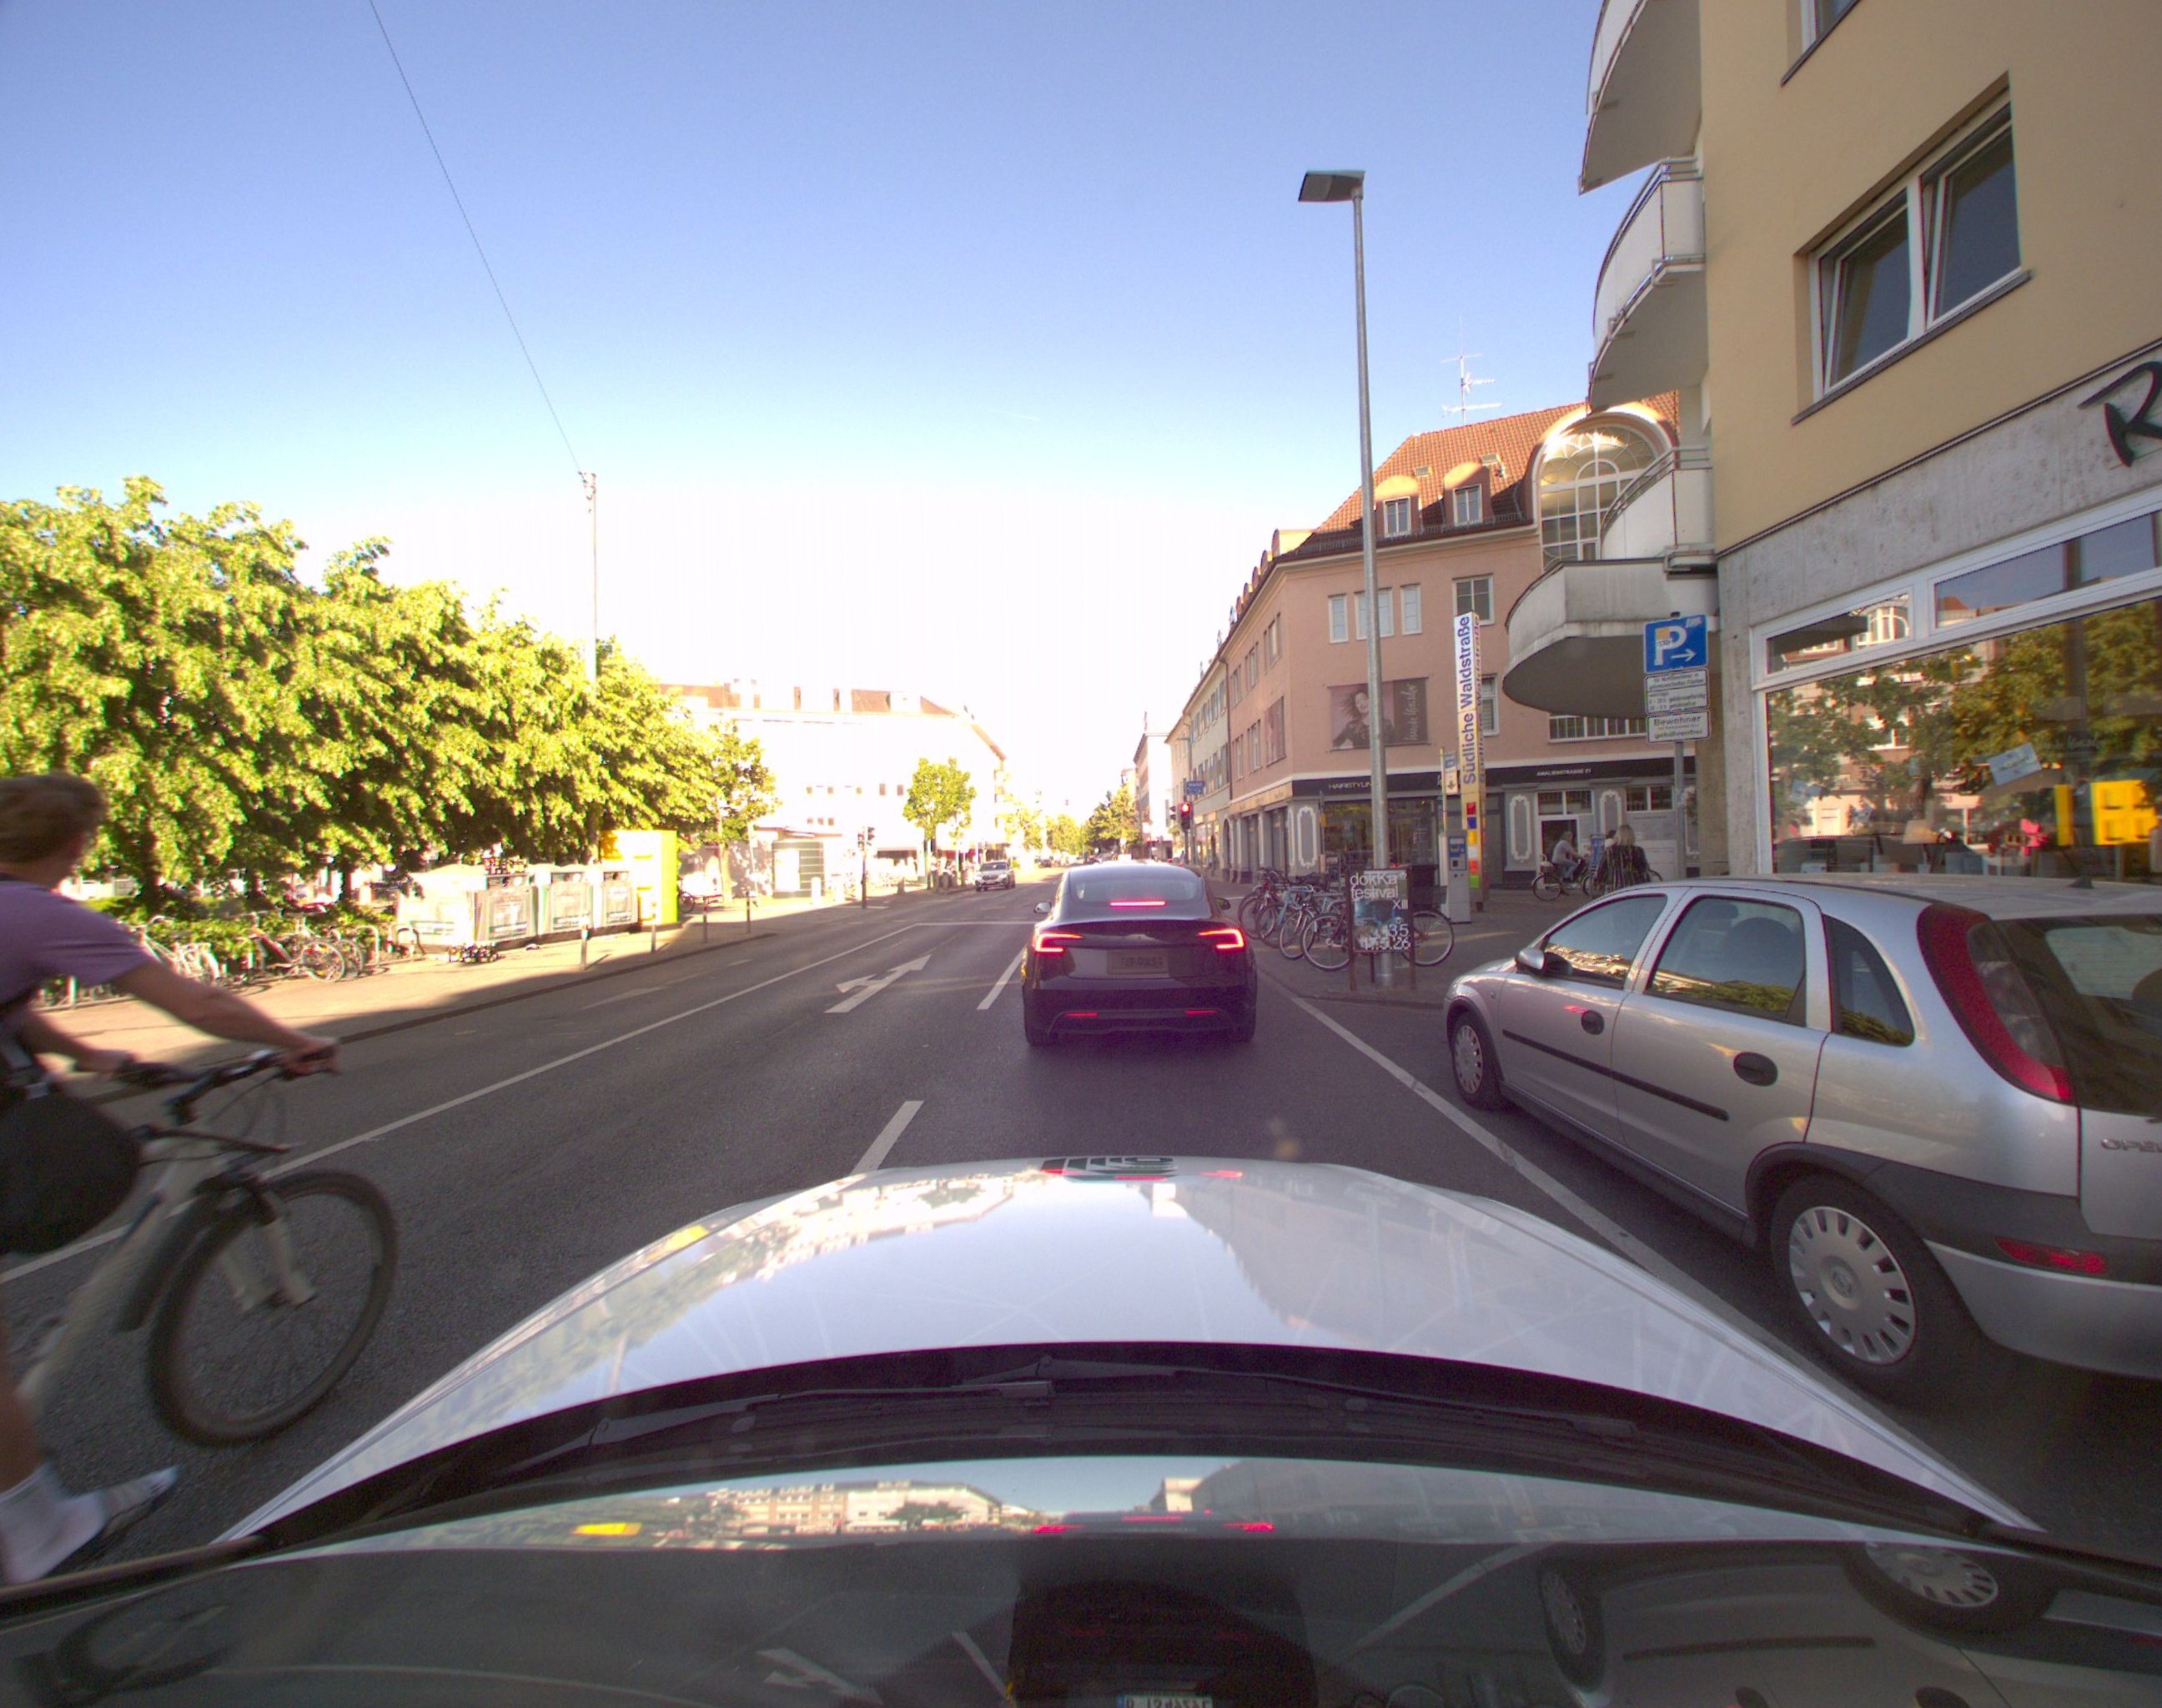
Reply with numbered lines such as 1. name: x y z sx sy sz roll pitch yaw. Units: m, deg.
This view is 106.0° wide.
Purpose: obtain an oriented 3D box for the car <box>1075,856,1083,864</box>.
1. car: -0.404 1.272 178.888 1.824 1.724 4.000 -1 0 0

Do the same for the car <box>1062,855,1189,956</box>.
1. car: 0.741 0.762 13.860 1.842 1.455 3.788 -1 0 3

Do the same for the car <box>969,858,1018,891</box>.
1. car: -4.724 1.099 44.492 1.986 1.541 4.002 -5 0 2

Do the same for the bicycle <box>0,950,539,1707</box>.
1. bicycle: -2.197 0.936 1.766 0.793 1.233 1.774 -1 0 2

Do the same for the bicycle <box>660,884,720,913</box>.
1. bicycle: -13.382 1.522 27.852 1.850 0.946 0.631 0 0 12

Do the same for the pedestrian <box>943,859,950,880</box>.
1. pedestrian: -10.386 1.217 62.884 0.385 1.591 0.705 -1 0 -3

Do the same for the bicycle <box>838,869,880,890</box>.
1. bicycle: -12.436 1.445 45.650 2.075 1.104 0.806 -1 0 1

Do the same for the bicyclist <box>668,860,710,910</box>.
1. bicyclist: -13.416 1.048 27.869 1.112 1.654 0.631 -1 0 12

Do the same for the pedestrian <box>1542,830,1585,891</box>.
1. pedestrian: 11.664 0.163 19.692 0.738 1.440 0.584 -1 -1 14

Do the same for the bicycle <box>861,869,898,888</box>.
1. bicycle: -12.483 1.486 50.428 2.075 1.104 0.806 -1 0 1

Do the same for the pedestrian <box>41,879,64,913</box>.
1. pedestrian: -55.264 2.232 43.755 0.576 1.792 0.604 -1 -1 19

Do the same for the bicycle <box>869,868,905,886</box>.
1. bicycle: -12.526 1.458 52.625 2.075 1.104 0.806 -1 0 1

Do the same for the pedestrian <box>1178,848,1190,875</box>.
1. pedestrian: 6.880 0.507 54.410 0.701 1.783 0.534 -1 0 1

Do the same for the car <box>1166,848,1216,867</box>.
1. car: 10.800 0.351 80.195 4.604 1.727 2.065 -1 0 15

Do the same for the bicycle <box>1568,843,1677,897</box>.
1. bicycle: 13.498 0.394 20.363 2.108 1.200 0.631 -4 -1 17

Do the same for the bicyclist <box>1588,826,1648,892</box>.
1. bicyclist: 13.415 0.130 20.376 1.088 1.589 0.631 -1 0 18

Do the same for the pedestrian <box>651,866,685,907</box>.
1. pedestrian: -16.693 1.307 32.935 0.981 1.636 0.738 -1 0 5

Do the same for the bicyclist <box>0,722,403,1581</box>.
1. bicyclist: -2.202 0.503 1.639 0.793 1.435 1.008 -1 0 1

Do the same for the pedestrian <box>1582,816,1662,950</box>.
1. pedestrian: 6.872 0.360 10.341 0.656 1.633 0.631 -5 -1 42

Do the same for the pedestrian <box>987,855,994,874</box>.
1. pedestrian: -9.810 1.169 88.170 0.623 2.014 0.707 -1 0 1

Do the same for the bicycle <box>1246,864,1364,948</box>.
1. bicycle: 3.396 0.777 12.424 1.622 1.160 0.433 -3 0 0

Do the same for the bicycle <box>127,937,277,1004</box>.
1. bicycle: -11.127 1.457 10.315 1.645 0.769 0.476 -1 -1 10

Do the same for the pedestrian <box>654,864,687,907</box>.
1. pedestrian: -16.525 1.263 32.830 0.897 1.725 0.745 -1 0 5

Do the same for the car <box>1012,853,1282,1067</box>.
1. car: 0.541 0.744 7.549 1.842 1.455 3.788 -1 0 3

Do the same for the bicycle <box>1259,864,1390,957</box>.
1. bicycle: 3.360 0.770 11.286 1.622 1.160 0.433 -4 0 0

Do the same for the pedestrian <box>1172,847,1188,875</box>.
1. pedestrian: 6.625 0.438 54.395 0.995 1.850 0.615 -1 0 1

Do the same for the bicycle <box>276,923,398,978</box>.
1. bicycle: -11.253 1.455 12.330 1.466 0.769 0.475 -1 -1 4

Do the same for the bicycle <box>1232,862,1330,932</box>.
1. bicycle: 3.619 0.769 14.806 1.621 1.160 0.433 -3 0 2

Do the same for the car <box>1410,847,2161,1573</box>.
1. car: 2.949 0.692 3.515 1.615 1.394 3.888 -1 0 3

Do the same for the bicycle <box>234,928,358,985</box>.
1. bicycle: -11.344 1.472 11.773 1.465 0.769 0.442 -1 -1 6

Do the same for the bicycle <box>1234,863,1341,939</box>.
1. bicycle: 3.444 0.781 13.642 1.622 1.160 0.433 -3 0 0

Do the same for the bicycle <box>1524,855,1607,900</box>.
1. bicycle: 11.687 0.561 19.675 1.604 1.045 0.593 -1 -1 14

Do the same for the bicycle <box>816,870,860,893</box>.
1. bicycle: -12.853 1.455 43.138 2.075 1.104 0.806 -1 0 1
